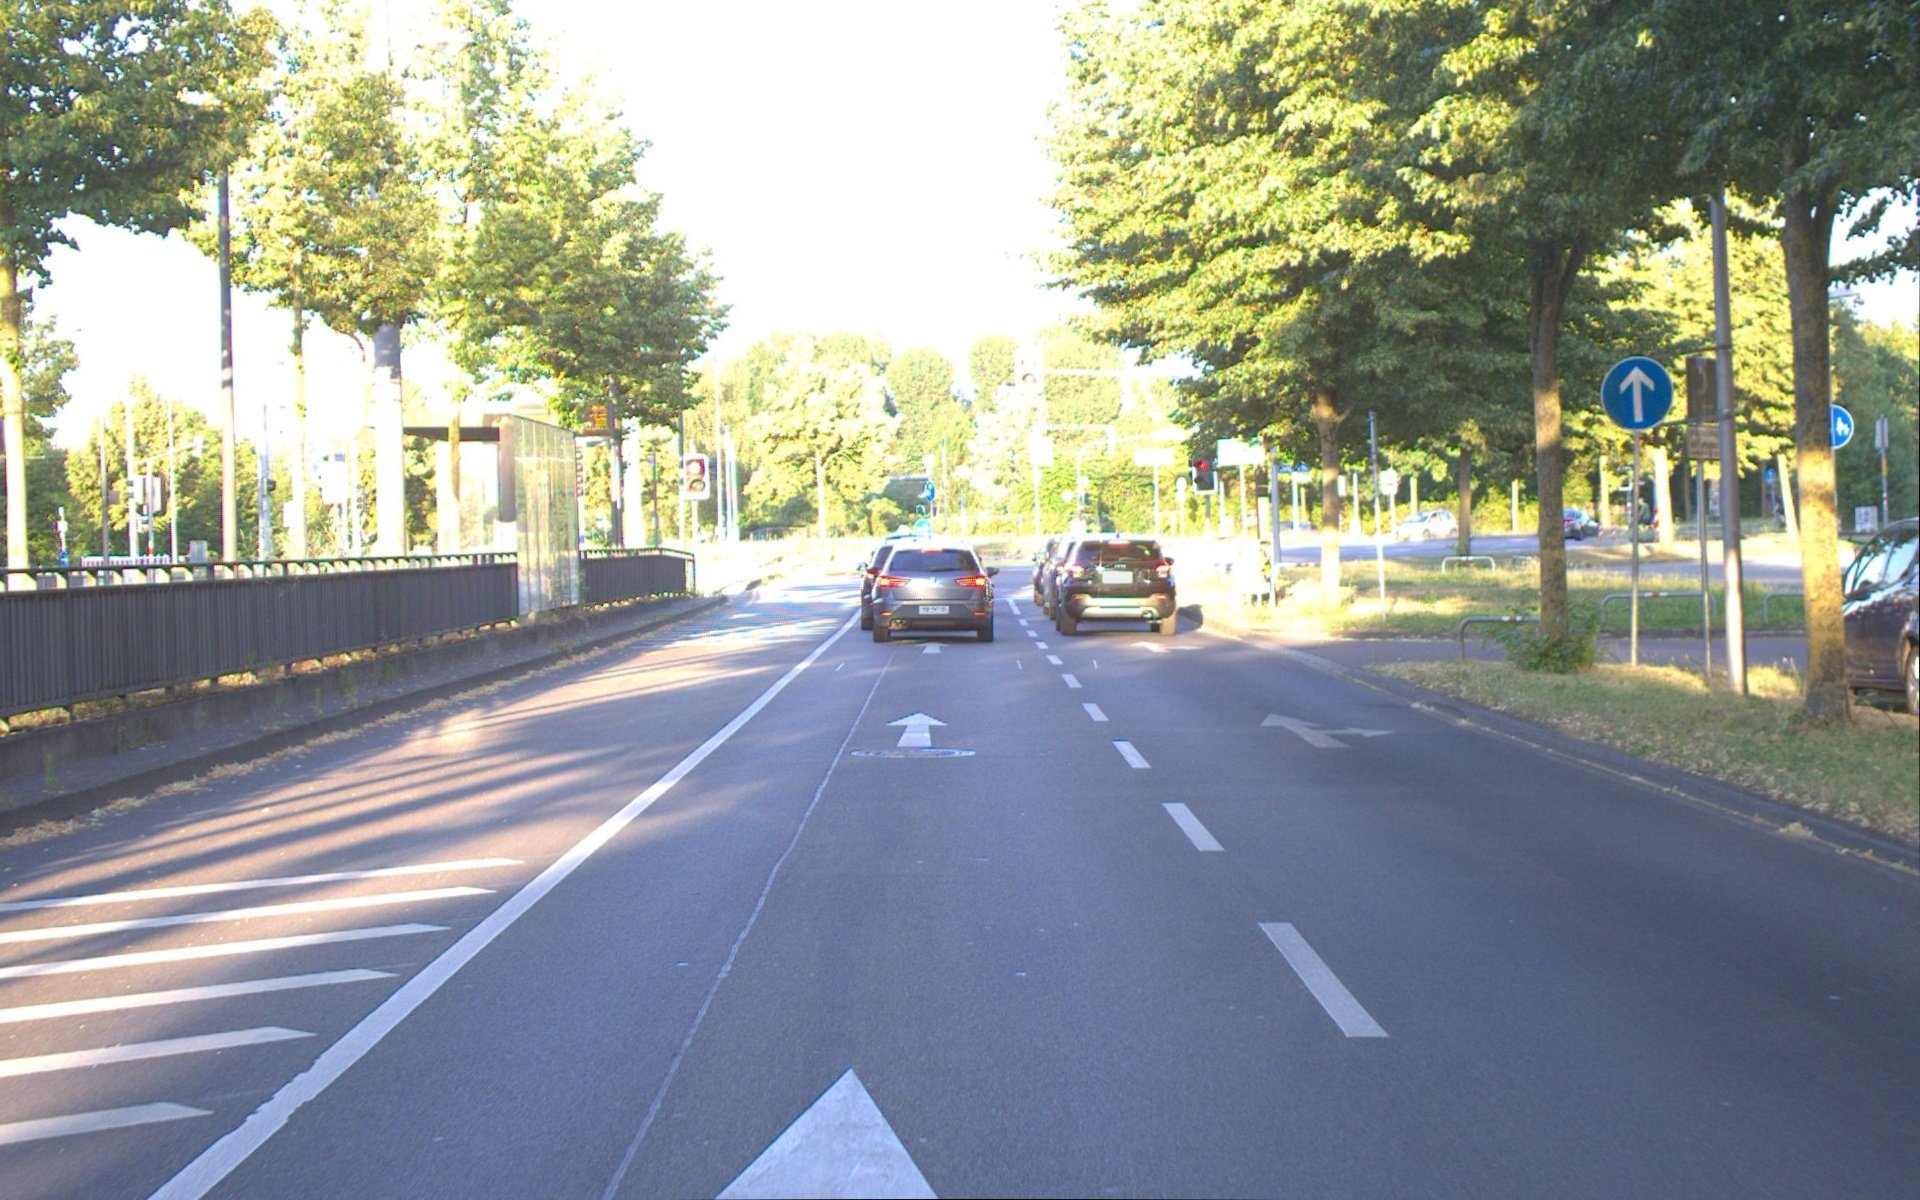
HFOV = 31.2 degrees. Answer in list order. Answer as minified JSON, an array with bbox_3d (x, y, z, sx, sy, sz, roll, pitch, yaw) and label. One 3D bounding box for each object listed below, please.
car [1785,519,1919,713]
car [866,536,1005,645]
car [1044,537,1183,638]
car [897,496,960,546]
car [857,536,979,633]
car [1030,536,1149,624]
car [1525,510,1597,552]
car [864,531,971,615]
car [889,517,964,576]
[{"bbox_3d":[8.092,0.078,27.599,1.756,1.461,4.159,-1,1,-2],"label":"car"},{"bbox_3d":[-0.368,-0.168,50.166,1.911,1.481,4.000,-1,1,-1],"label":"car"},{"bbox_3d":[2.369,-0.230,53.883,1.911,1.481,4.000,-1,1,-1],"label":"car"},{"bbox_3d":[-1.003,-2.481,107.879,1.911,1.481,4.000,-1,1,-1],"label":"car"},{"bbox_3d":[-0.696,-0.280,56.456,1.911,1.481,4.000,-1,1,-1],"label":"car"},{"bbox_3d":[2.293,-0.384,61.787,1.911,1.481,4.000,-1,1,-1],"label":"car"},{"bbox_3d":[25.930,-2.992,148.258,1.996,1.722,3.995,-1,1,26],"label":"car"},{"bbox_3d":[-0.804,-0.533,64.431,1.911,1.481,4.000,-1,1,-1],"label":"car"},{"bbox_3d":[-0.910,-1.432,91.594,1.911,1.481,4.000,-1,1,-1],"label":"car"}]
